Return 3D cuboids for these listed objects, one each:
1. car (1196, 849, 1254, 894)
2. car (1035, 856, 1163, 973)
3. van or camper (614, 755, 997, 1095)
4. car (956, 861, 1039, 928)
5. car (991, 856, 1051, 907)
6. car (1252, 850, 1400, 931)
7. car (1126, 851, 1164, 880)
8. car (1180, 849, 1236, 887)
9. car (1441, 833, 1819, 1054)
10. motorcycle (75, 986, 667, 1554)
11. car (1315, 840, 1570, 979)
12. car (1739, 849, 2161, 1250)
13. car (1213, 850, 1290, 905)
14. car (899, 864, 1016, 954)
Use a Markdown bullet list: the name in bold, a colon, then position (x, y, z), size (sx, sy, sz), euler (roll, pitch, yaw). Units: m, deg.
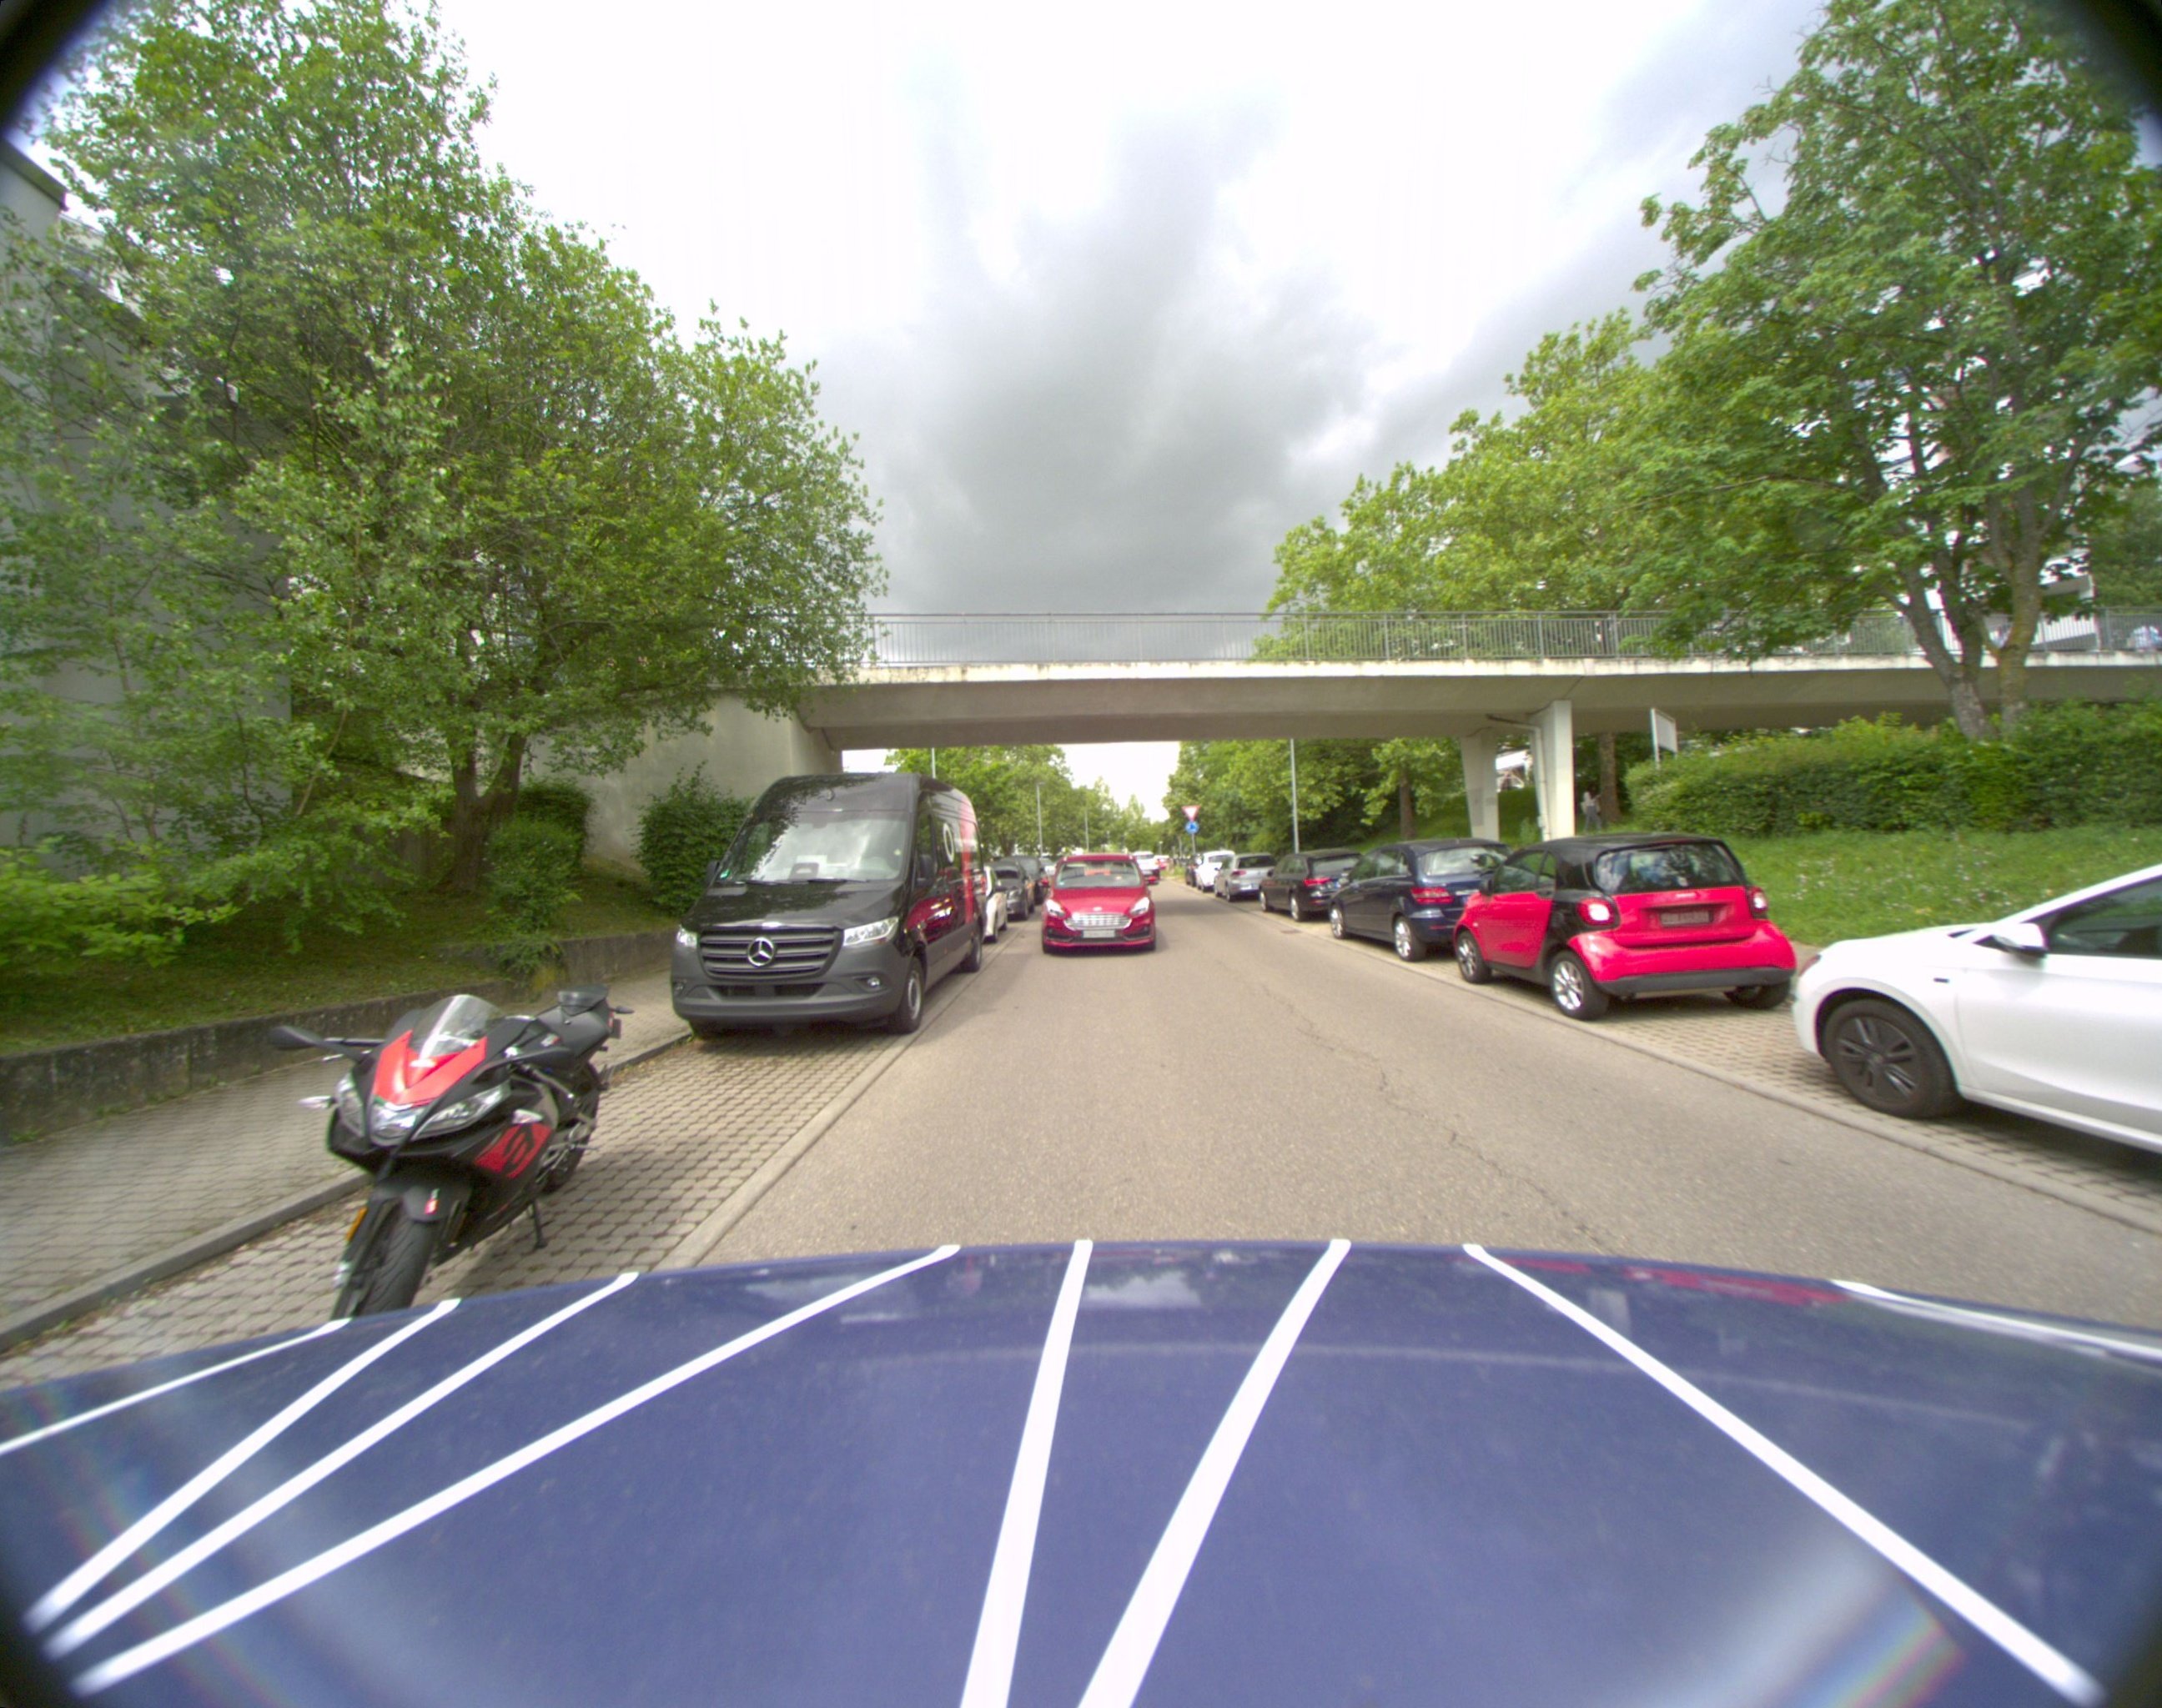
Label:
- **car**: position (5.566, 0.625, 29.699), size (1.812, 1.561, 3.723), euler (-2, 1, 5)
- **car**: position (0.306, 0.890, 12.933), size (1.812, 1.600, 3.722), euler (-2, 1, 1)
- **van or camper**: position (-2.378, 0.516, 8.562), size (1.998, 2.481, 5.758), euler (-2, 1, 2)
- **car**: position (-2.089, 0.975, 19.946), size (1.604, 1.478, 3.722), euler (-2, 1, 1)
- **car**: position (-1.997, 0.895, 26.100), size (1.604, 1.533, 3.722), euler (-2, 1, 1)
- **car**: position (5.328, 0.707, 17.211), size (1.813, 1.472, 4.485), euler (-4, 1, 0)
- **car**: position (3.647, 0.619, 43.809), size (1.813, 1.561, 3.721), euler (-2, 1, -1)
- **car**: position (5.656, 0.590, 34.280), size (1.813, 1.561, 3.721), euler (-2, 1, -1)
- **car**: position (4.903, 0.690, 7.251), size (1.598, 1.575, 2.685), euler (-6, 0, 3)
- **motorcycle**: position (-2.335, 1.226, 2.927), size (0.710, 1.061, 1.929), euler (-2, 1, -11)
- **car**: position (5.083, 0.688, 11.375), size (1.813, 1.575, 3.985), euler (-4, 0, 0)
- **car**: position (4.993, 0.754, 2.676), size (1.813, 1.396, 4.048), euler (-4, 0, 1)
- **car**: position (5.366, 0.679, 24.350), size (1.812, 1.447, 3.862), euler (-5, 0, 5)
- **car**: position (-2.324, 0.997, 15.199), size (1.586, 1.441, 3.722), euler (-2, 1, 1)
